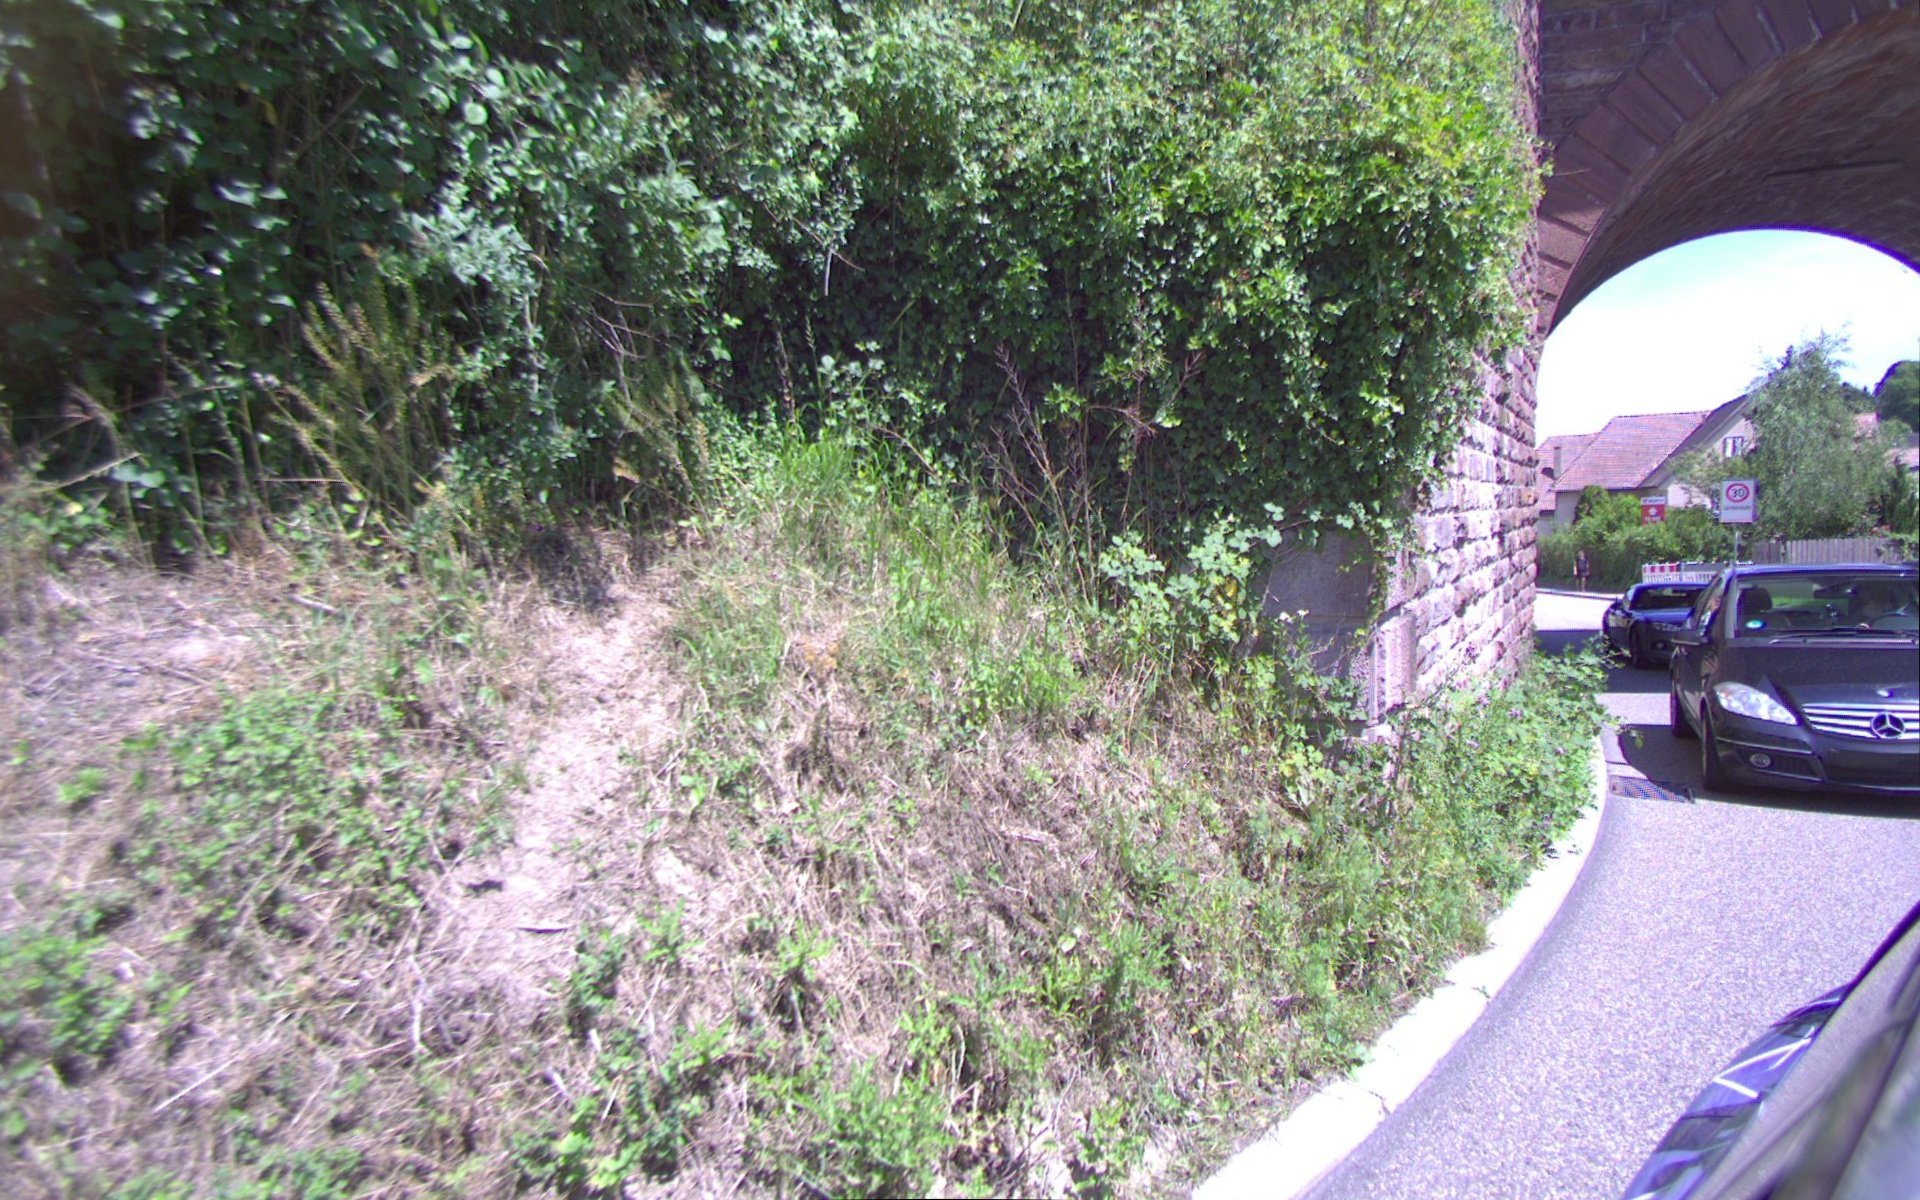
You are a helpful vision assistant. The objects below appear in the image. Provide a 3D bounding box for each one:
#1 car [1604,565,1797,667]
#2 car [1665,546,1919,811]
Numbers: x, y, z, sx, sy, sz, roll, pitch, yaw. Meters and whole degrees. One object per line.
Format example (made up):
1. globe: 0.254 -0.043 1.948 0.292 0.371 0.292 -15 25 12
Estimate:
1. car: 11.274 0.187 15.648 1.630 1.338 3.413 -2 2 23
2. car: 6.695 0.443 7.763 1.782 1.599 3.759 -1 0 30
